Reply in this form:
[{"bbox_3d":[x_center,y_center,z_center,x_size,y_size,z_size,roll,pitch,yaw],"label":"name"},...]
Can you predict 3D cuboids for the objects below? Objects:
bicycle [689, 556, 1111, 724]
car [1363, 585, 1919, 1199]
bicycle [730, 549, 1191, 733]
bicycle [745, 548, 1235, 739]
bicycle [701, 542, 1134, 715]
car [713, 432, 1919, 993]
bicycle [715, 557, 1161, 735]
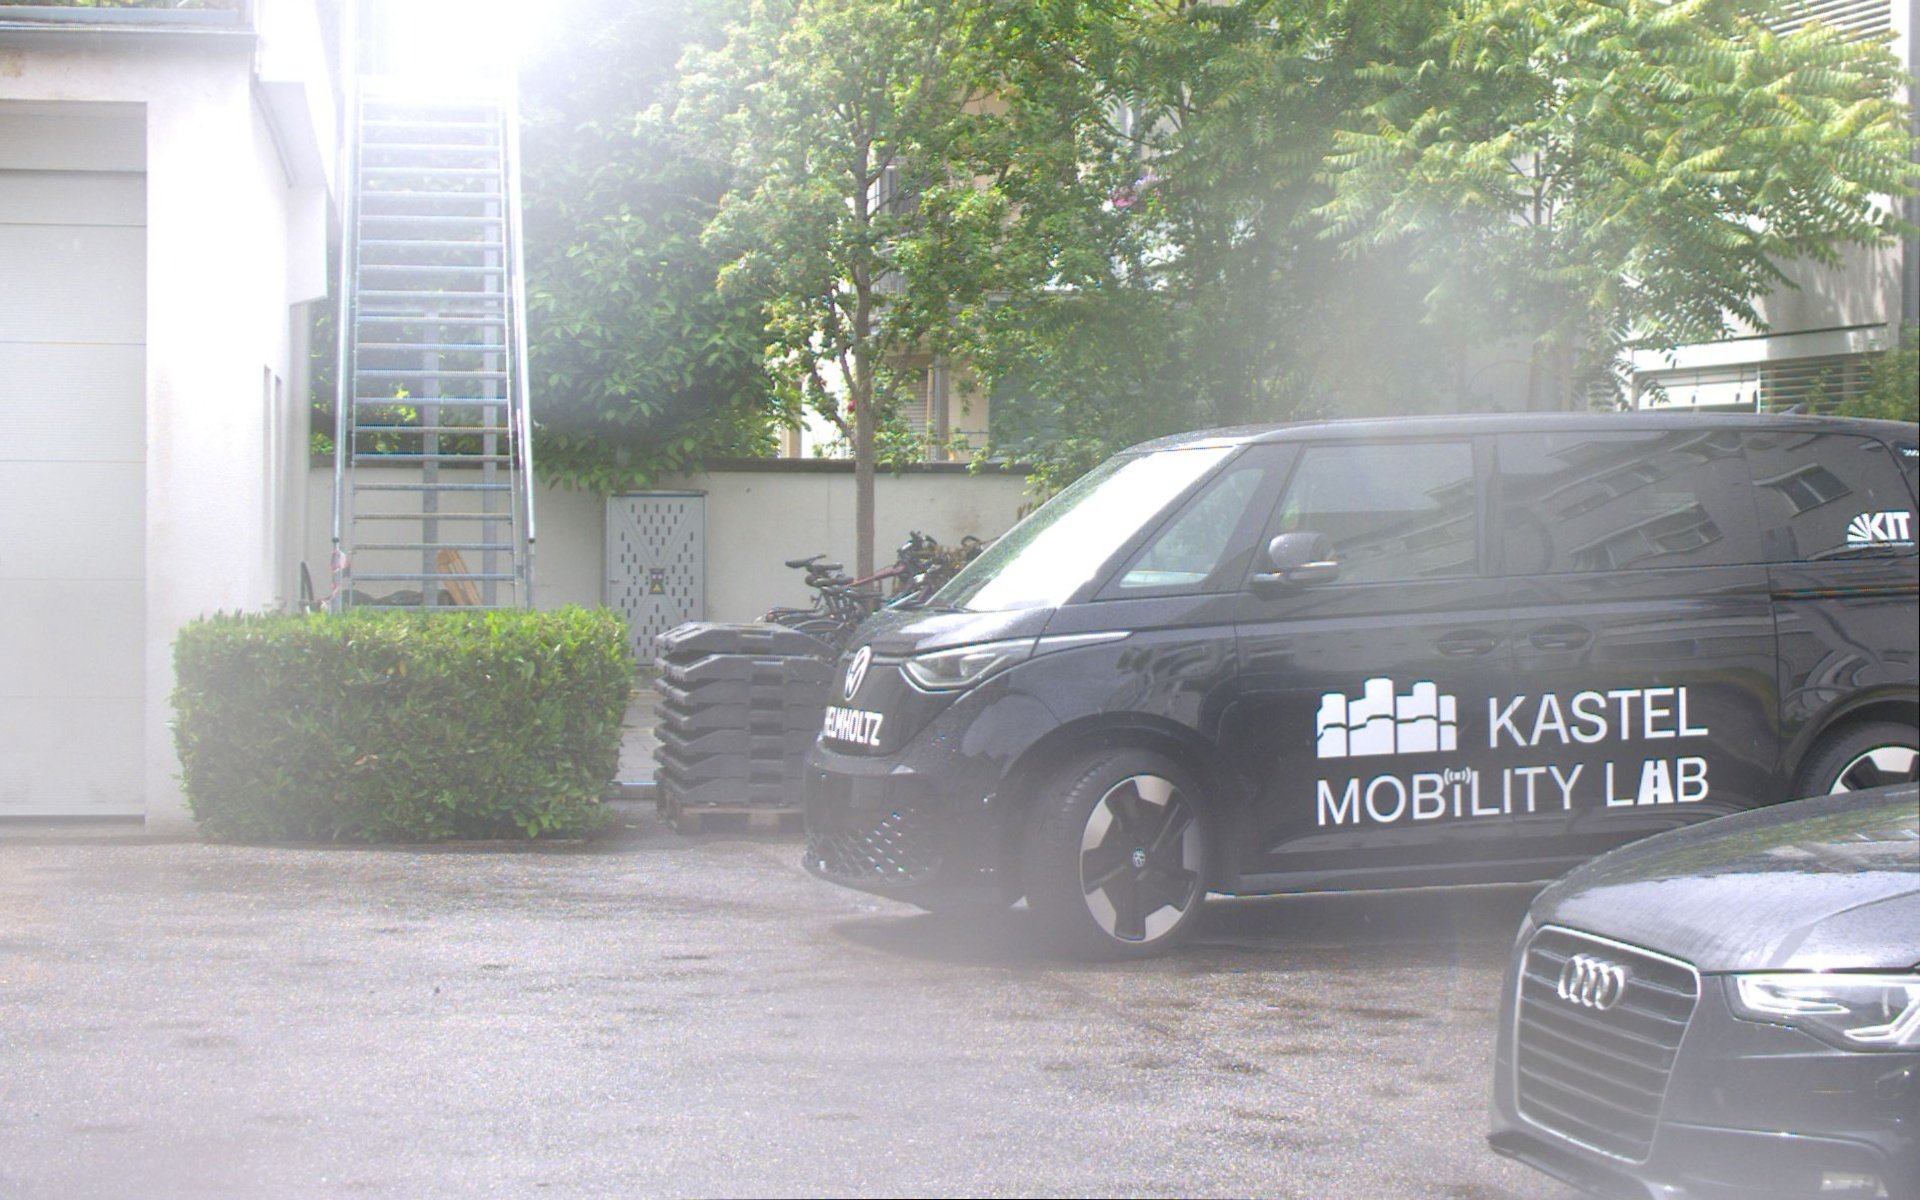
[{"bbox_3d":[-0.424,0.279,24.073,2.842,1.074,0.690,2,2,-12],"label":"bicycle"},{"bbox_3d":[3.249,0.663,7.361,4.352,1.344,1.861,-1,2,-16],"label":"car"},{"bbox_3d":[-0.003,0.262,22.071,2.842,1.074,0.690,2,2,-12],"label":"bicycle"},{"bbox_3d":[0.182,0.271,21.313,2.922,1.074,0.690,2,2,-12],"label":"bicycle"},{"bbox_3d":[-0.294,0.196,23.479,2.842,1.074,0.690,2,2,-12],"label":"bicycle"},{"bbox_3d":[1.605,0.309,12.978,4.708,1.827,2.111,-1,2,-16],"label":"car"},{"bbox_3d":[-0.148,0.307,22.783,2.842,1.074,0.690,2,2,-12],"label":"bicycle"}]
